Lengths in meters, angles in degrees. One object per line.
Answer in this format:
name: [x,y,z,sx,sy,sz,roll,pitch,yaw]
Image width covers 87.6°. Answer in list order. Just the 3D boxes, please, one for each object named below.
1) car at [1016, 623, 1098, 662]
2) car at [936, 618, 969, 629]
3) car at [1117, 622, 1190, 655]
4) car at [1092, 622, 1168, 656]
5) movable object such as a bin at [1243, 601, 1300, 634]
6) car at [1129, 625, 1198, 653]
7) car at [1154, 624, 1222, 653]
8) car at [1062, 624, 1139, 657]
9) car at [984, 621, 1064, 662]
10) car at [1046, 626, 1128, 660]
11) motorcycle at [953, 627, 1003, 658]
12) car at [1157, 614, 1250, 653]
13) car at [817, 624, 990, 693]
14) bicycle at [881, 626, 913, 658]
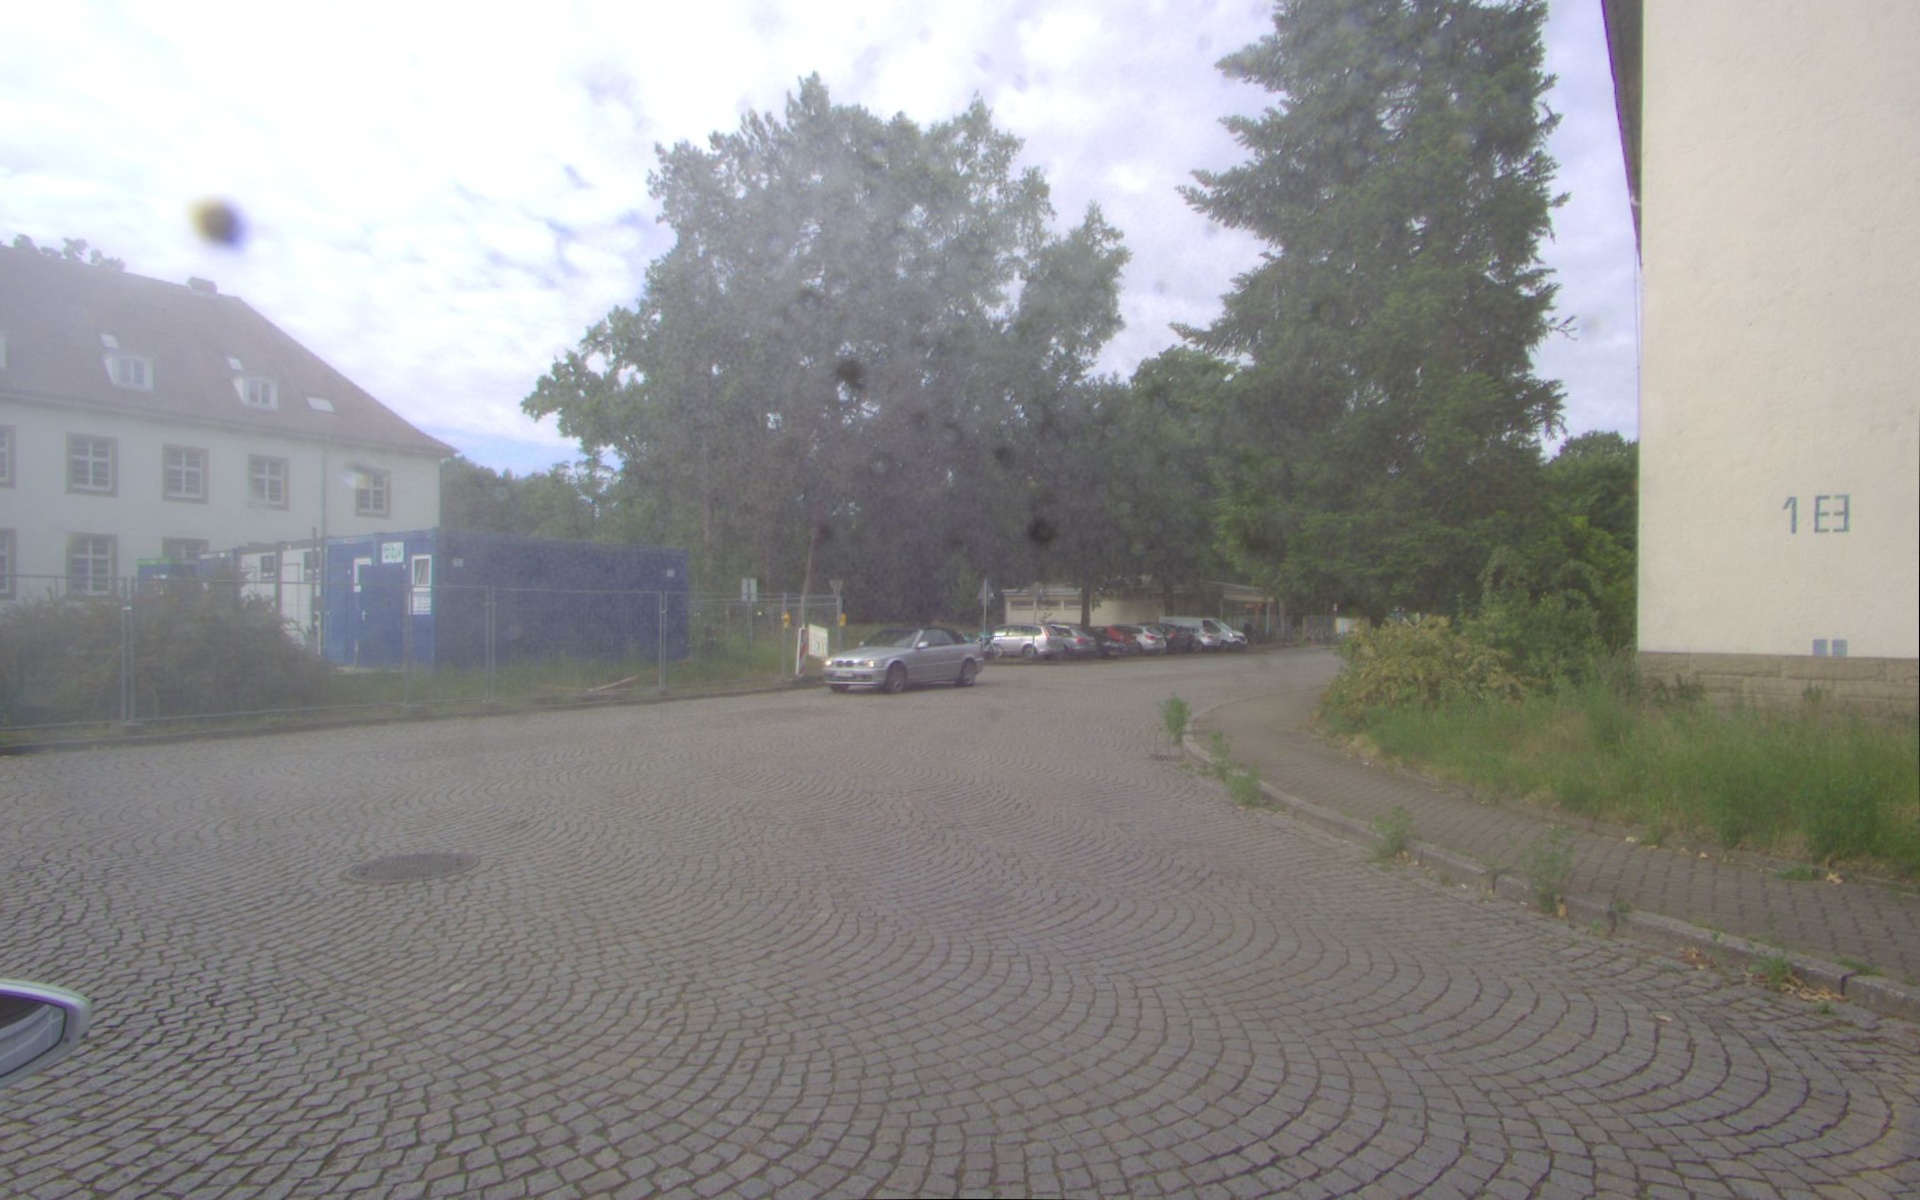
car: [4.141,1.784,42.863,3.171,1.467,1.384,2,0,28]
car: [-0.785,2.414,102.916,3.326,1.078,1.256,0,-1,2]
car: [9.968,1.952,51.572,3.317,1.533,1.558,2,0,32]
car: [8.337,1.887,49.148,3.314,1.462,1.559,2,0,29]
movable object such as a bin: [31.616,1.742,101.744,5.214,3.315,2.000,0,-1,4]
car: [10.911,2.078,53.771,3.317,1.336,1.467,2,0,32]
car: [12.655,2.134,55.657,3.317,1.425,1.558,2,0,32]
car: [6.691,1.893,47.828,3.320,1.379,1.439,2,0,36]
car: [2.621,1.690,41.123,2.978,1.508,1.318,2,0,28]
car: [5.720,1.918,45.156,3.313,1.338,1.635,2,0,28]
motorcycle: [0.703,1.664,39.566,1.936,1.180,0.516,0,0,31]
car: [14.055,1.925,57.965,4.892,2.017,1.687,2,0,37]
car: [-1.129,1.219,22.131,1.584,1.363,4.270,0,-1,34]
bicycle: [-2.435,1.601,38.417,0.507,1.182,1.795,0,-1,-30]
